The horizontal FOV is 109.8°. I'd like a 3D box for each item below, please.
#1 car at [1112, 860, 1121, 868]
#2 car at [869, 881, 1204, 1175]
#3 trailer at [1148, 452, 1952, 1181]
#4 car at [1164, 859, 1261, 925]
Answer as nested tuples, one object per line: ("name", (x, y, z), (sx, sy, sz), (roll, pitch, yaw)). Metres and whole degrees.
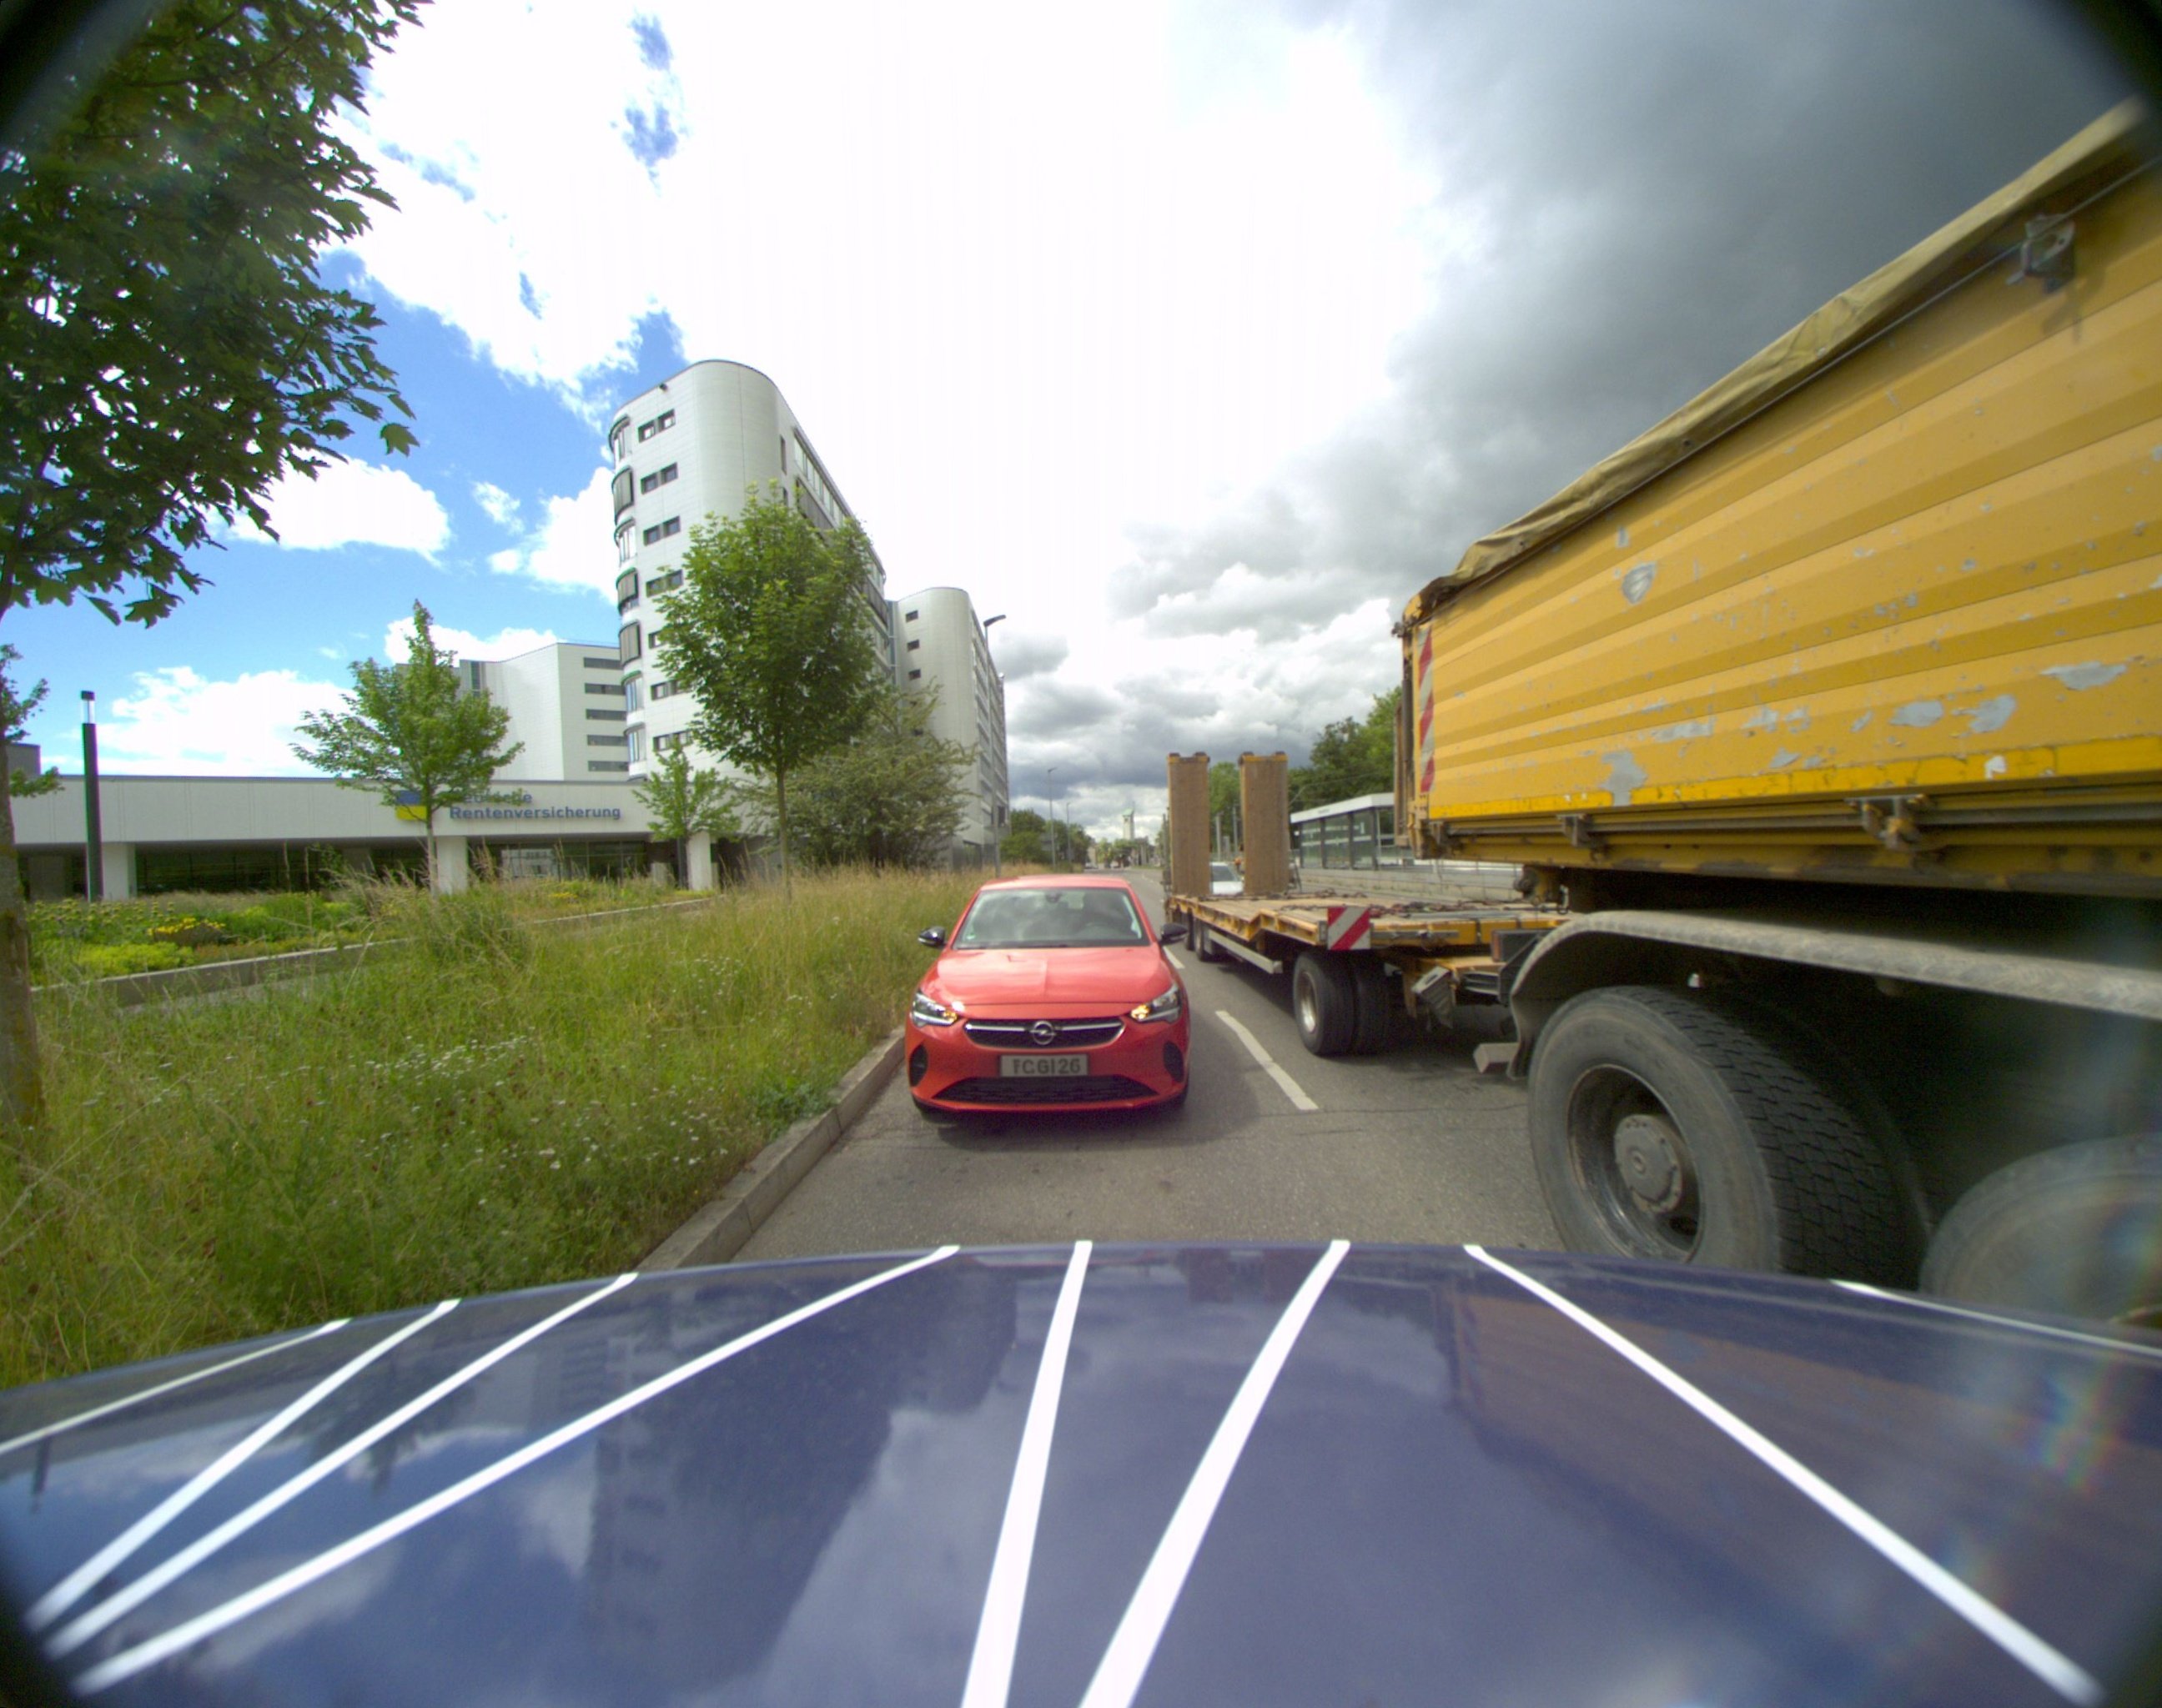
("car", (8.533, 2.327, 183.307), (1.998, 1.805, 4.000), (-2, 0, 1))
("car", (-0.204, 0.991, 5.857), (1.749, 1.408, 3.676), (-1, 0, 1))
("trailer", (2.936, -0.172, 9.427), (3.057, 3.676, 10.965), (-2, 0, 0))
("car", (3.171, 0.876, 19.024), (1.784, 1.408, 3.785), (-2, 0, 1))
